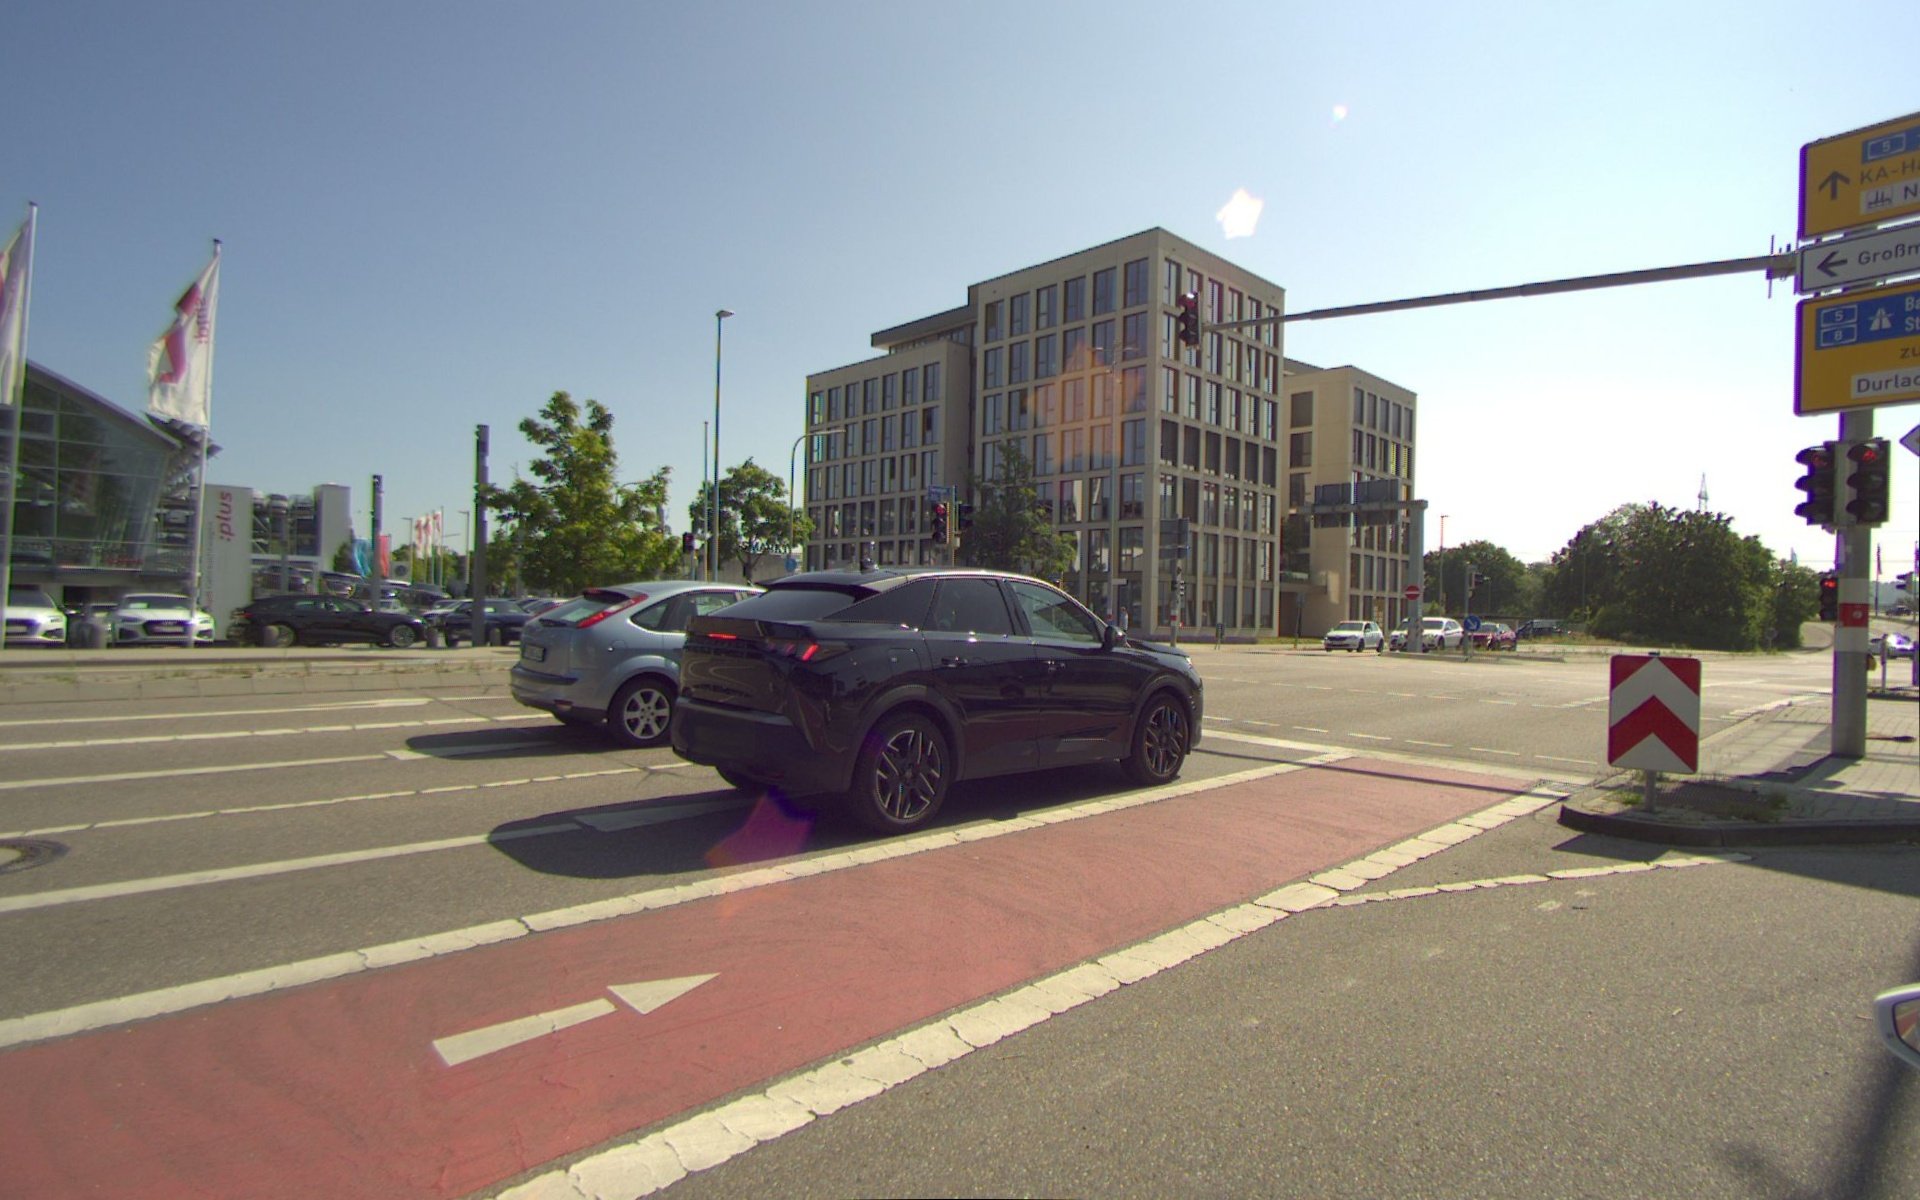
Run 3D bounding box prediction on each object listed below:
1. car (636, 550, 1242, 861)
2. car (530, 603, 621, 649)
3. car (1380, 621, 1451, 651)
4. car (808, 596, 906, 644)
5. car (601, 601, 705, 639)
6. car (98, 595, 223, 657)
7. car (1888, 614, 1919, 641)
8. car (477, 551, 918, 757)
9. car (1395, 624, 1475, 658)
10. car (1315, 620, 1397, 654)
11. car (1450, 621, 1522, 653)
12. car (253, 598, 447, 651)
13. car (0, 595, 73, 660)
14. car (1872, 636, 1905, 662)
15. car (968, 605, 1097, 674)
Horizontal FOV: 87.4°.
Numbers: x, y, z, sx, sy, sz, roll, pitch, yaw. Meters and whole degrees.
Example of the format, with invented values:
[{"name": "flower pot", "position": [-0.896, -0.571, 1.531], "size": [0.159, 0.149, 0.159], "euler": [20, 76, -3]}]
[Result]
[{"name": "car", "position": [0.073, 0.608, 7.515], "size": [4.423, 1.662, 1.792], "euler": [1, -1, -41]}, {"name": "car", "position": [-12.045, 0.784, 31.381], "size": [1.632, 1.361, 3.383], "euler": [1, -1, -40]}, {"name": "car", "position": [23.709, 1.867, 52.204], "size": [3.966, 1.483, 1.801], "euler": [2, -1, -39]}, {"name": "car", "position": [-4.753, 0.901, 45.834], "size": [1.985, 2.077, 4.870], "euler": [2, -1, -41]}, {"name": "car", "position": [-11.690, 0.762, 38.298], "size": [3.395, 1.361, 1.690], "euler": [1, -1, -40]}, {"name": "car", "position": [-19.337, 0.602, 24.235], "size": [1.987, 1.361, 3.948], "euler": [1, -1, -44]}, {"name": "car", "position": [78.598, 2.295, 83.400], "size": [3.952, 2.041, 1.974], "euler": [0, 3, -43]}, {"name": "car", "position": [-2.581, 0.488, 10.408], "size": [3.972, 1.706, 1.975], "euler": [2, -1, -43]}, {"name": "car", "position": [21.479, 1.832, 45.367], "size": [3.966, 1.483, 1.801], "euler": [2, -1, -39]}, {"name": "car", "position": [18.511, 1.709, 46.867], "size": [3.966, 1.483, 1.877], "euler": [2, -1, -39]}, {"name": "car", "position": [26.395, 1.842, 50.360], "size": [3.966, 1.483, 1.801], "euler": [2, -1, -39]}, {"name": "car", "position": [-16.840, 0.663, 27.858], "size": [4.404, 1.361, 1.689], "euler": [1, -1, -40]}, {"name": "car", "position": [-21.192, 0.578, 22.376], "size": [1.987, 1.361, 3.948], "euler": [1, -1, -44]}, {"name": "car", "position": [71.066, 3.721, 76.854], "size": [1.742, 1.817, 3.326], "euler": [0, -1, 45]}, {"name": "car", "position": [1.606, 0.805, 21.875], "size": [2.778, 1.349, 1.204], "euler": [0, 2, -42]}]
